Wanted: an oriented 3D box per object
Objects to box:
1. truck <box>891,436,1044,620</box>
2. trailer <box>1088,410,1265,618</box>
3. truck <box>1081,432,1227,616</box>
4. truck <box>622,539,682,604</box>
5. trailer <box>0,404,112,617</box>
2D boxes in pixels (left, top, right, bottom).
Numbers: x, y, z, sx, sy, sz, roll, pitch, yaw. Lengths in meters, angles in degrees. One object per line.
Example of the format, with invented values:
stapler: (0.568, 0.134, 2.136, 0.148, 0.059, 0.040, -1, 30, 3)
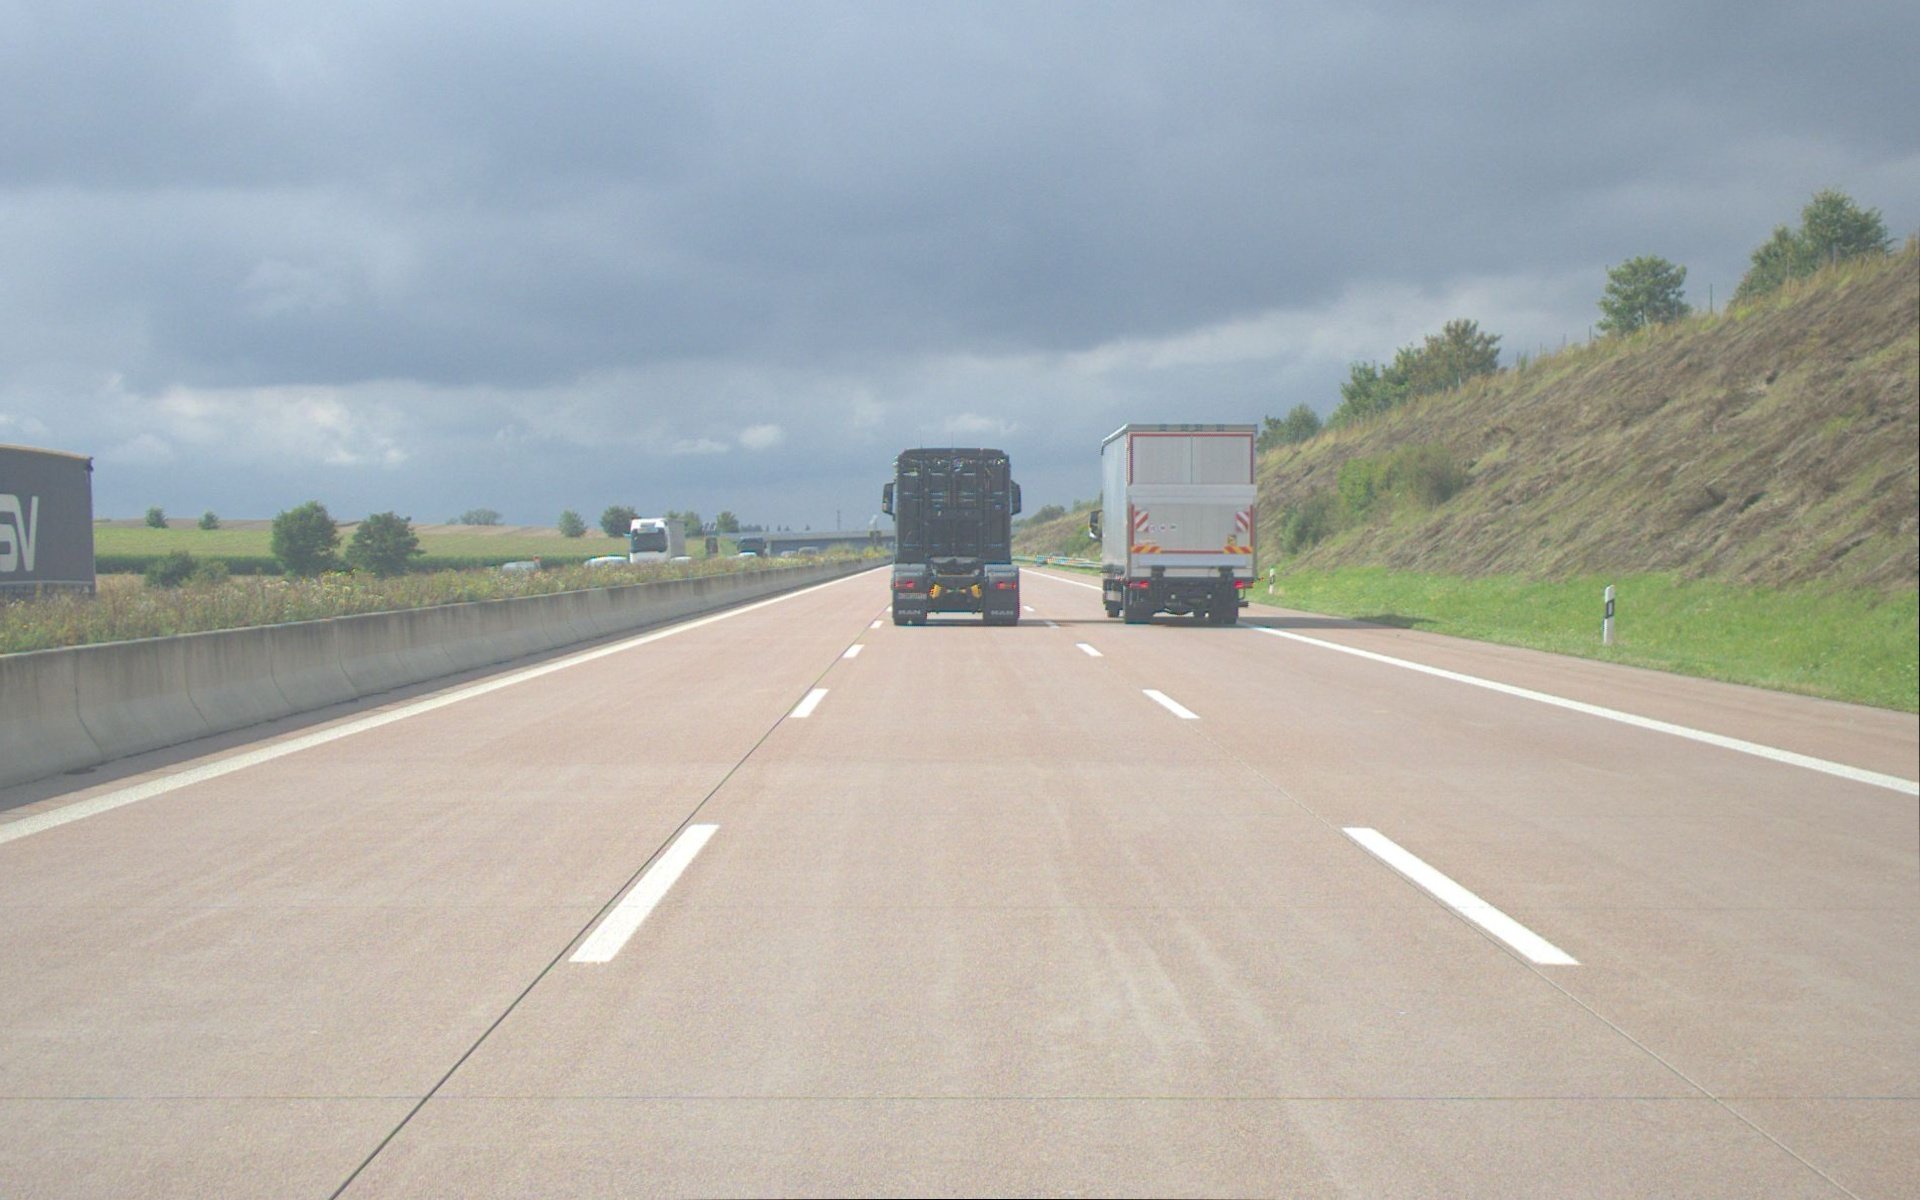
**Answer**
truck: (0.060, -1.427, 70.483, 2.847, 3.537, 8.320, 0, 1, -2)
trailer: (4.349, -1.698, 70.703, 2.747, 3.998, 8.671, 0, 1, -2)
truck: (4.184, -1.639, 75.086, 2.748, 3.878, 4.546, 0, 1, -2)
truck: (-19.889, -1.884, 222.316, 3.206, 4.084, 6.126, 1, 1, 0)
trailer: (-19.197, -1.677, 65.378, 2.770, 3.945, 14.332, -1, 1, -1)
